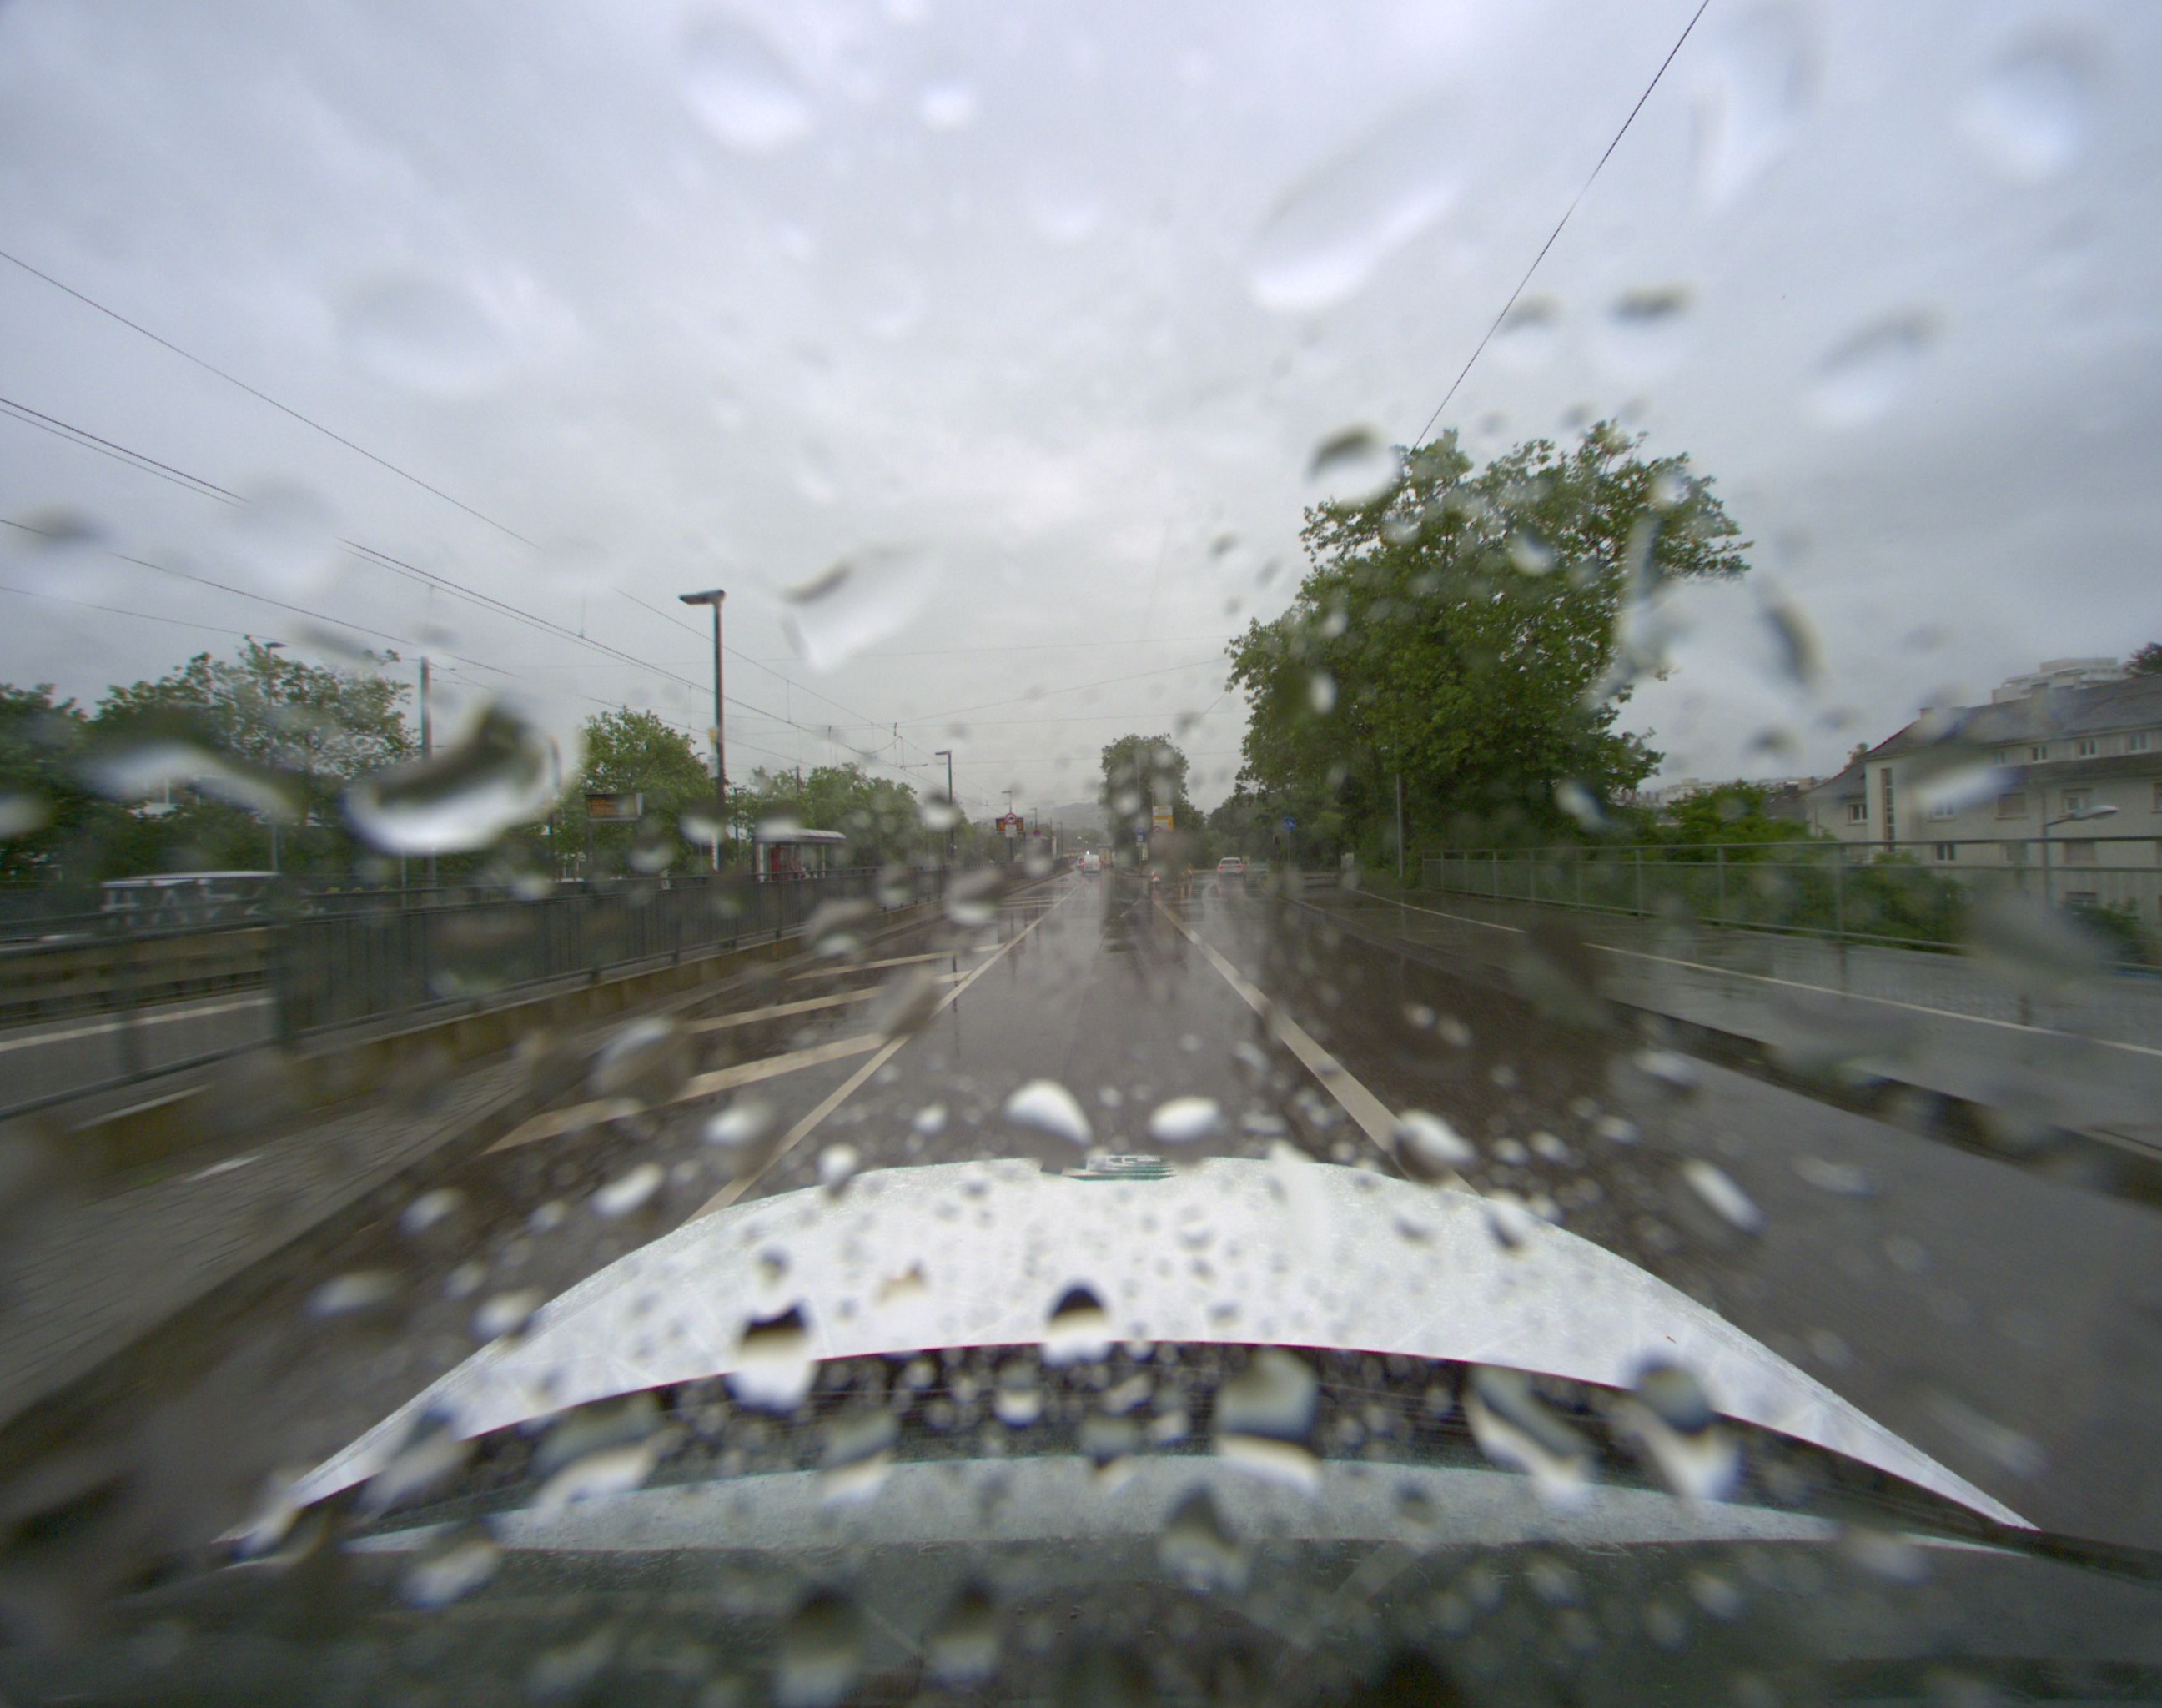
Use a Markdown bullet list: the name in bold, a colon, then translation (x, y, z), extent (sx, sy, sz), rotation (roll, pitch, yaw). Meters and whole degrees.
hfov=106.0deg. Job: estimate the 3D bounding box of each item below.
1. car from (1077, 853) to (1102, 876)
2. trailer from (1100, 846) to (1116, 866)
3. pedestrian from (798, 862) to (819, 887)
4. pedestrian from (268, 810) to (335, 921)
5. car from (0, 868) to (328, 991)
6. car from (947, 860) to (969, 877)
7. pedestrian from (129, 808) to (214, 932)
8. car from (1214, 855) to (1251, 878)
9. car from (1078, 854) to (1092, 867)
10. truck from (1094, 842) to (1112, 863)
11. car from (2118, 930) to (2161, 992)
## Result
- **car**: translation (0.748, 0.897, 71.390), extent (1.988, 1.849, 3.997), rotation (-1, 0, -2)
- **trailer**: translation (3.966, 0.335, 119.468), extent (2.156, 2.757, 5.681), rotation (-1, -1, 3)
- **pedestrian**: translation (-14.564, 1.096, 43.496), extent (0.828, 1.316, 0.858), rotation (0, 0, 2)
- **pedestrian**: translation (-29.010, 0.429, 30.328), extent (1.157, 4.029, 1.529), rotation (-2, -1, 29)
- **car**: translation (-18.304, 1.331, 16.270), extent (1.986, 2.014, 4.755), rotation (-1, 0, 2)
- **car**: translation (-15.338, 1.823, 101.737), extent (1.986, 2.014, 4.002), rotation (-1, -1, 2)
- **pedestrian**: translation (-30.448, 0.530, 27.303), extent (1.168, 4.029, 1.514), rotation (-1, -1, -9)
- **car**: translation (10.182, 0.832, 54.511), extent (1.873, 1.431, 4.019), rotation (-1, 0, 18)
- **car**: translation (0.564, 0.887, 106.995), extent (1.780, 1.642, 3.968), rotation (-1, -1, 1)
- **truck**: translation (4.008, -0.157, 150.481), extent (2.768, 3.704, 9.843), rotation (-1, -1, -2)
- **car**: translation (47.172, 4.629, 33.940), extent (2.229, 2.519, 4.538), rotation (-1, 0, 4)
